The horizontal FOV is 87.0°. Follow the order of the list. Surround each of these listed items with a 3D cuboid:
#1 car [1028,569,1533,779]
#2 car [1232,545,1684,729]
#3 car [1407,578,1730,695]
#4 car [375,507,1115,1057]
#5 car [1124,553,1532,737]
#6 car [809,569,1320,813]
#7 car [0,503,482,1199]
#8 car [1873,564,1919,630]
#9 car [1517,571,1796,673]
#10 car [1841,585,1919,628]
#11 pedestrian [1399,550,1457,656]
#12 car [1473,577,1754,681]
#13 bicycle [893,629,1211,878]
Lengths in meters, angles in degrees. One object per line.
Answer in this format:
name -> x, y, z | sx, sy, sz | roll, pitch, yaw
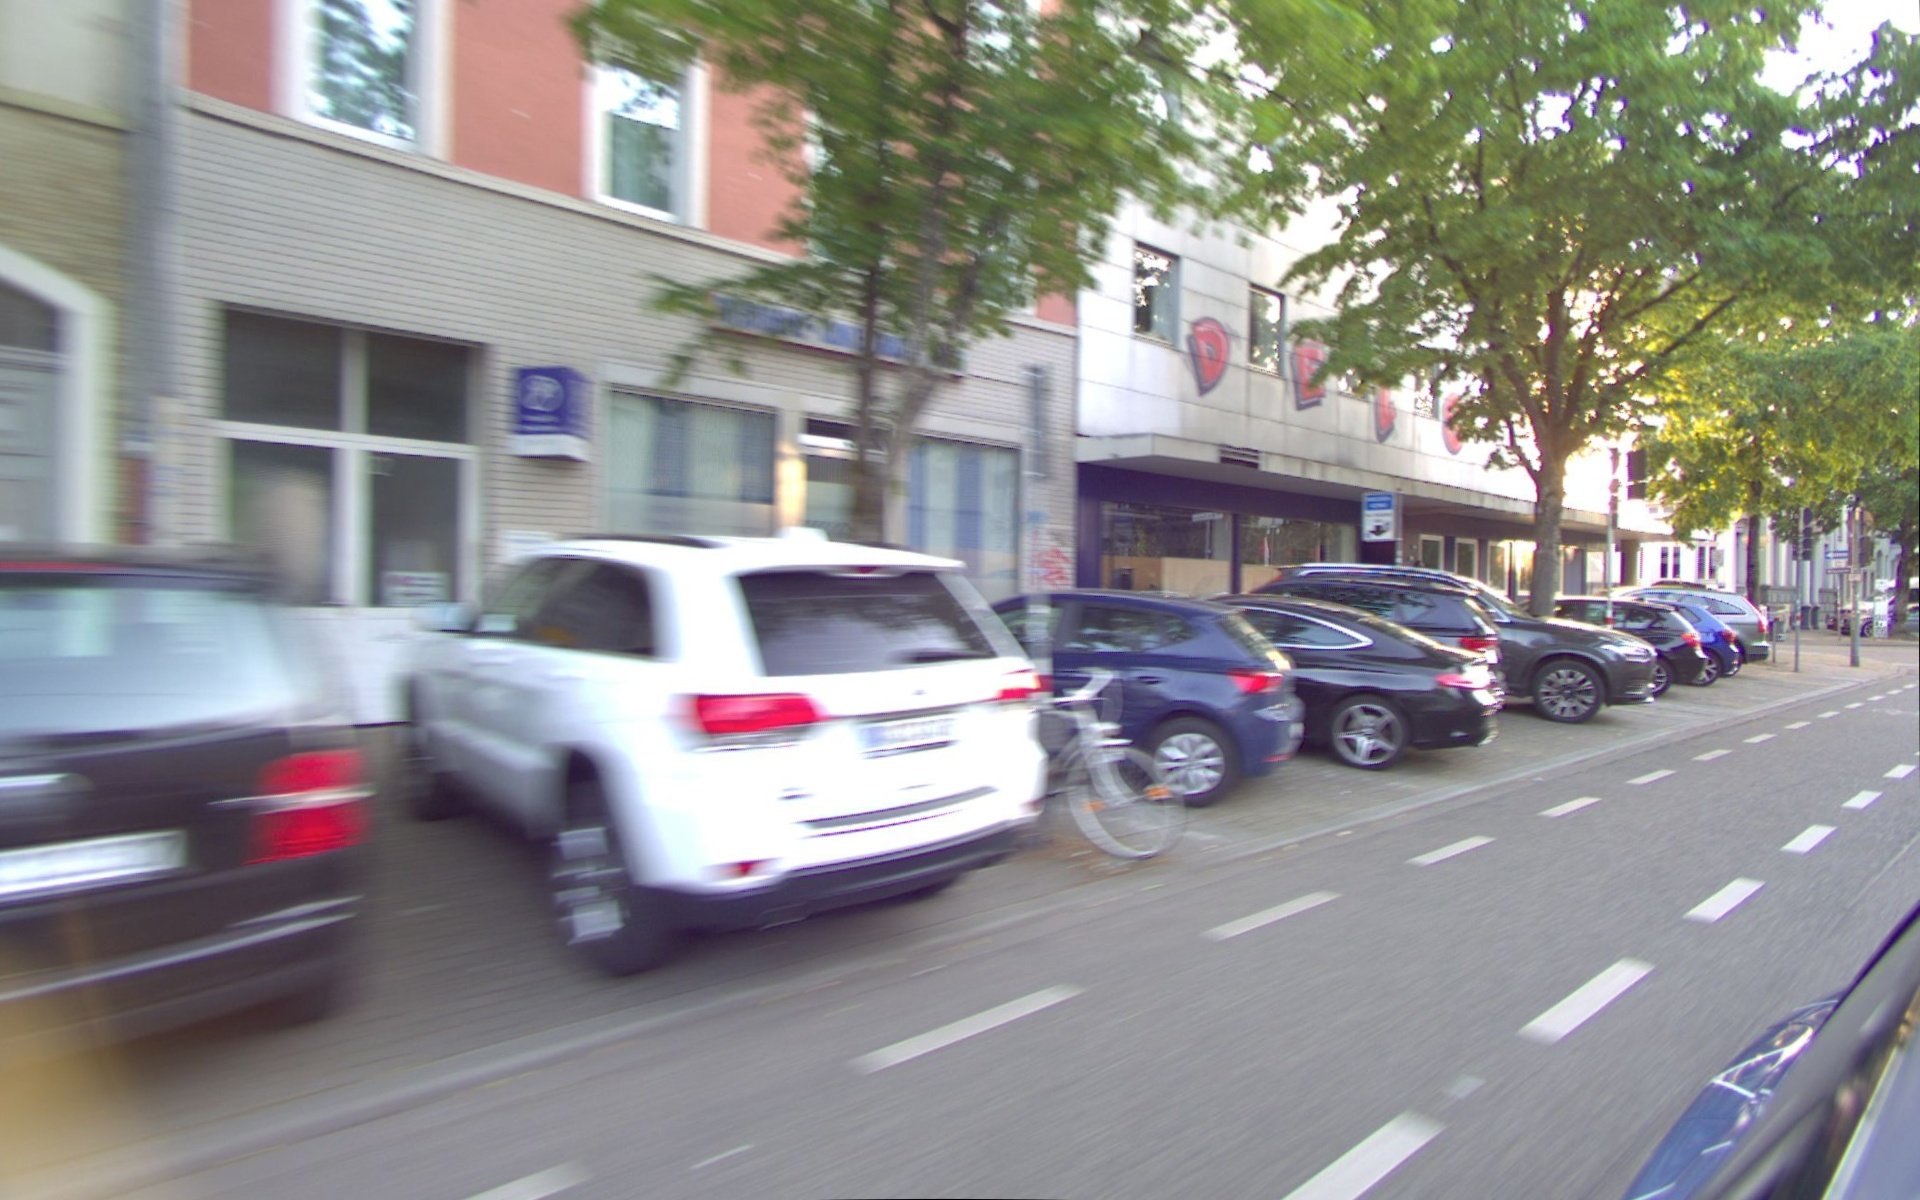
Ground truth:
car -> 2.977, 0.542, 9.797 | 4.180, 1.444, 1.961 | 4, 3, 23
car -> 6.392, 0.320, 13.380 | 4.945, 1.849, 2.183 | 4, 3, 33
car -> 9.552, 0.492, 16.337 | 4.121, 1.483, 1.957 | 4, 3, 23
car -> -1.601, 0.438, 5.551 | 1.972, 1.708, 4.660 | 1, 3, -40
car -> 4.305, 0.386, 12.033 | 4.196, 1.669, 1.953 | 4, 3, 33
car -> 0.862, 0.565, 8.140 | 3.711, 1.444, 1.717 | 4, 3, 19
car -> -3.835, 0.490, 4.126 | 1.975, 1.708, 4.653 | 0, 3, -44
car -> 42.305, -0.073, 42.386 | 5.561, 2.728, 2.161 | 1, 0, 16
car -> 13.732, 0.372, 20.256 | 4.111, 1.684, 1.833 | 3, 2, 16
car -> 36.984, 0.325, 38.660 | 4.560, 1.532, 1.847 | 4, 1, 25
pedestrian -> 9.175, 0.046, 19.848 | 0.772, 2.009, 0.693 | 1, 3, -40
car -> 11.597, 0.452, 18.288 | 3.847, 1.520, 1.802 | 4, 3, 20
bicycle -> 0.483, 0.812, 5.946 | 1.831, 1.116, 0.491 | 5, 2, 37
